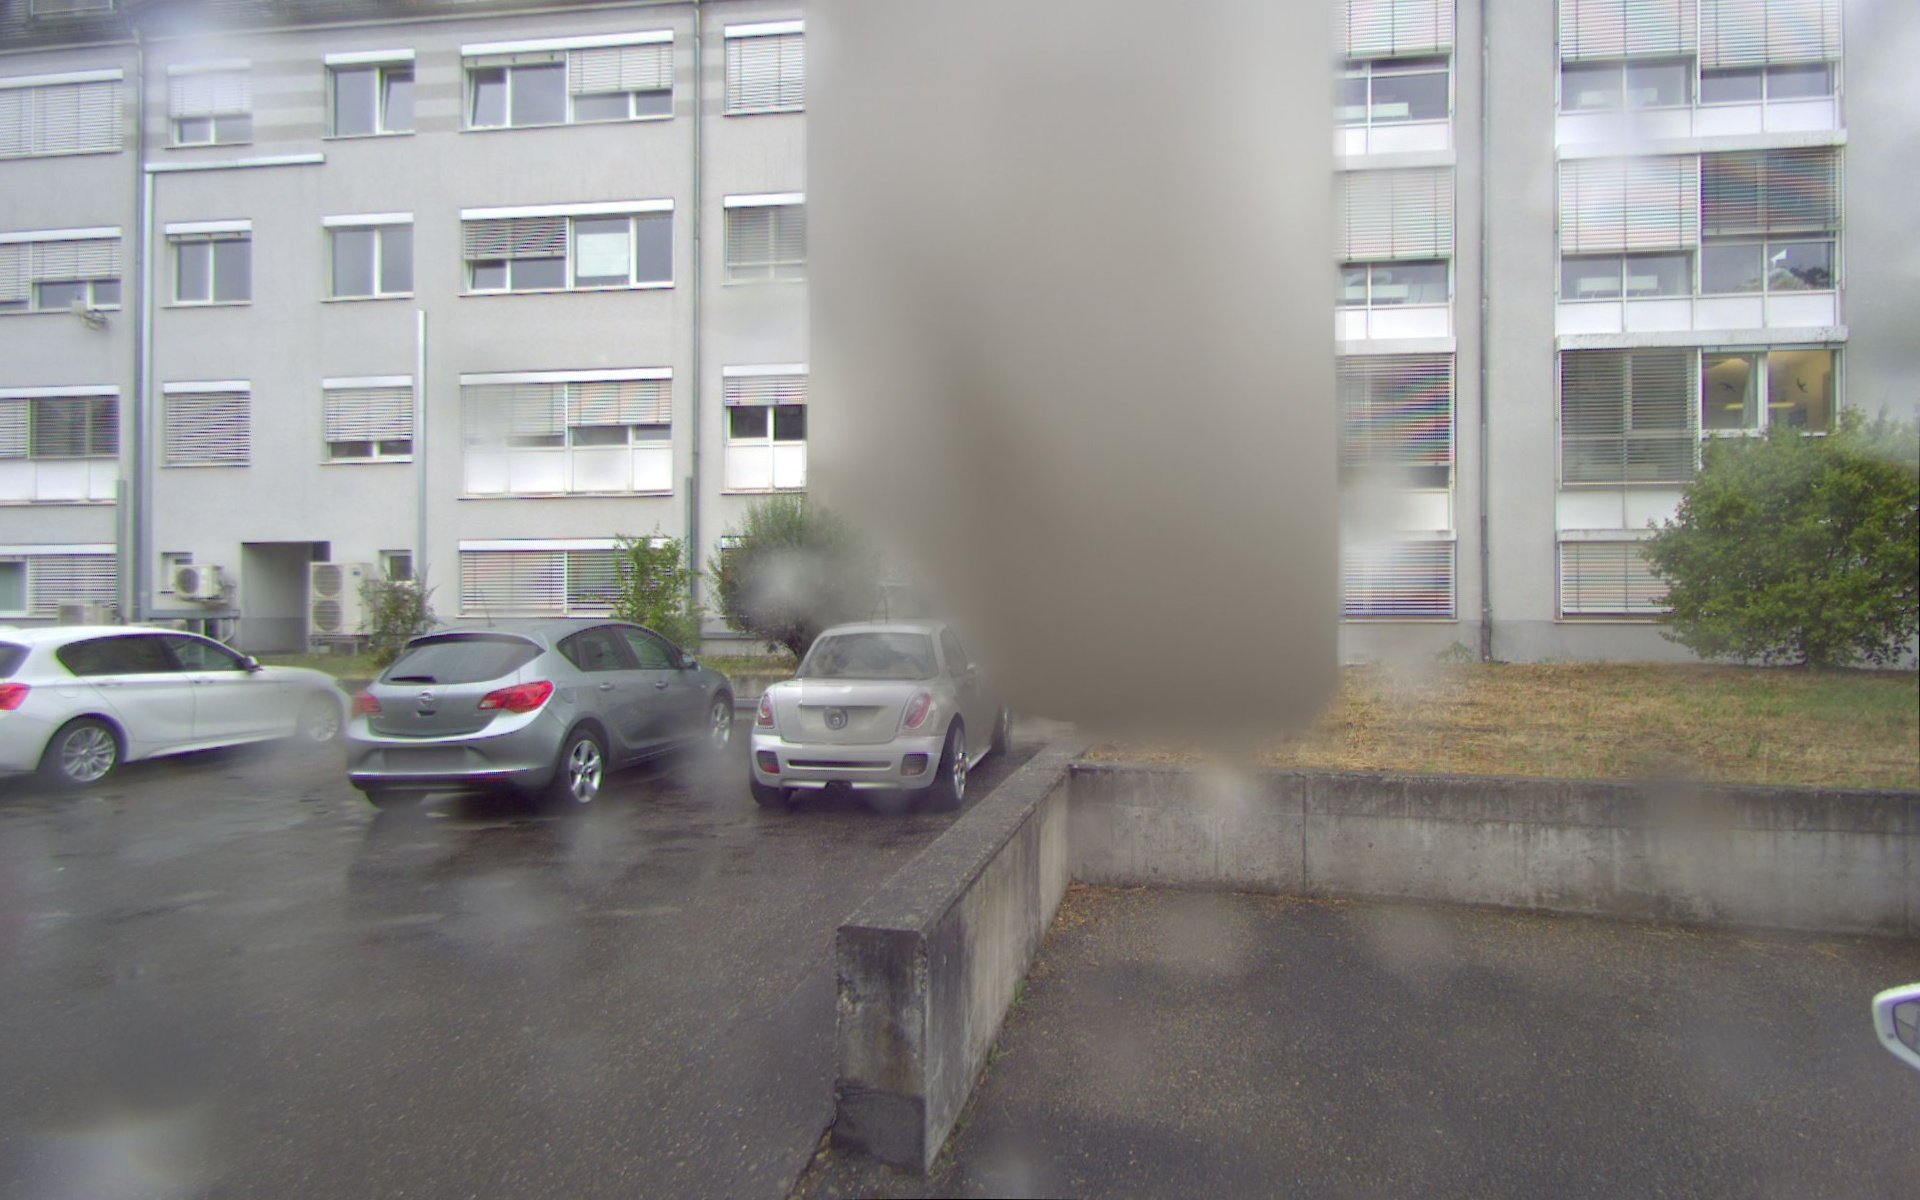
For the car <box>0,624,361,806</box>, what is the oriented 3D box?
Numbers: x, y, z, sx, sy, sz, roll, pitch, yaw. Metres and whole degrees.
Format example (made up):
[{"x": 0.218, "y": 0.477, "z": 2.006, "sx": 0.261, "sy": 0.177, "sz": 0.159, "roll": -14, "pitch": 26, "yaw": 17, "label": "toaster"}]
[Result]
[{"x": -8.417, "y": 0.988, "z": 10.236, "sx": 1.717, "sy": 1.452, "sz": 4.156, "roll": 0, "pitch": -1, "yaw": 9, "label": "car"}]

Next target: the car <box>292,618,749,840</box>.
[{"x": -3.509, "y": 0.923, "z": 9.016, "sx": 1.785, "sy": 1.503, "sz": 4.182, "roll": -1, "pitch": -1, "yaw": 9, "label": "car"}]

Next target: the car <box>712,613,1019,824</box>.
[{"x": -0.587, "y": 0.890, "z": 9.375, "sx": 1.785, "sy": 1.351, "sz": 4.181, "roll": -1, "pitch": 1, "yaw": 10, "label": "car"}]
